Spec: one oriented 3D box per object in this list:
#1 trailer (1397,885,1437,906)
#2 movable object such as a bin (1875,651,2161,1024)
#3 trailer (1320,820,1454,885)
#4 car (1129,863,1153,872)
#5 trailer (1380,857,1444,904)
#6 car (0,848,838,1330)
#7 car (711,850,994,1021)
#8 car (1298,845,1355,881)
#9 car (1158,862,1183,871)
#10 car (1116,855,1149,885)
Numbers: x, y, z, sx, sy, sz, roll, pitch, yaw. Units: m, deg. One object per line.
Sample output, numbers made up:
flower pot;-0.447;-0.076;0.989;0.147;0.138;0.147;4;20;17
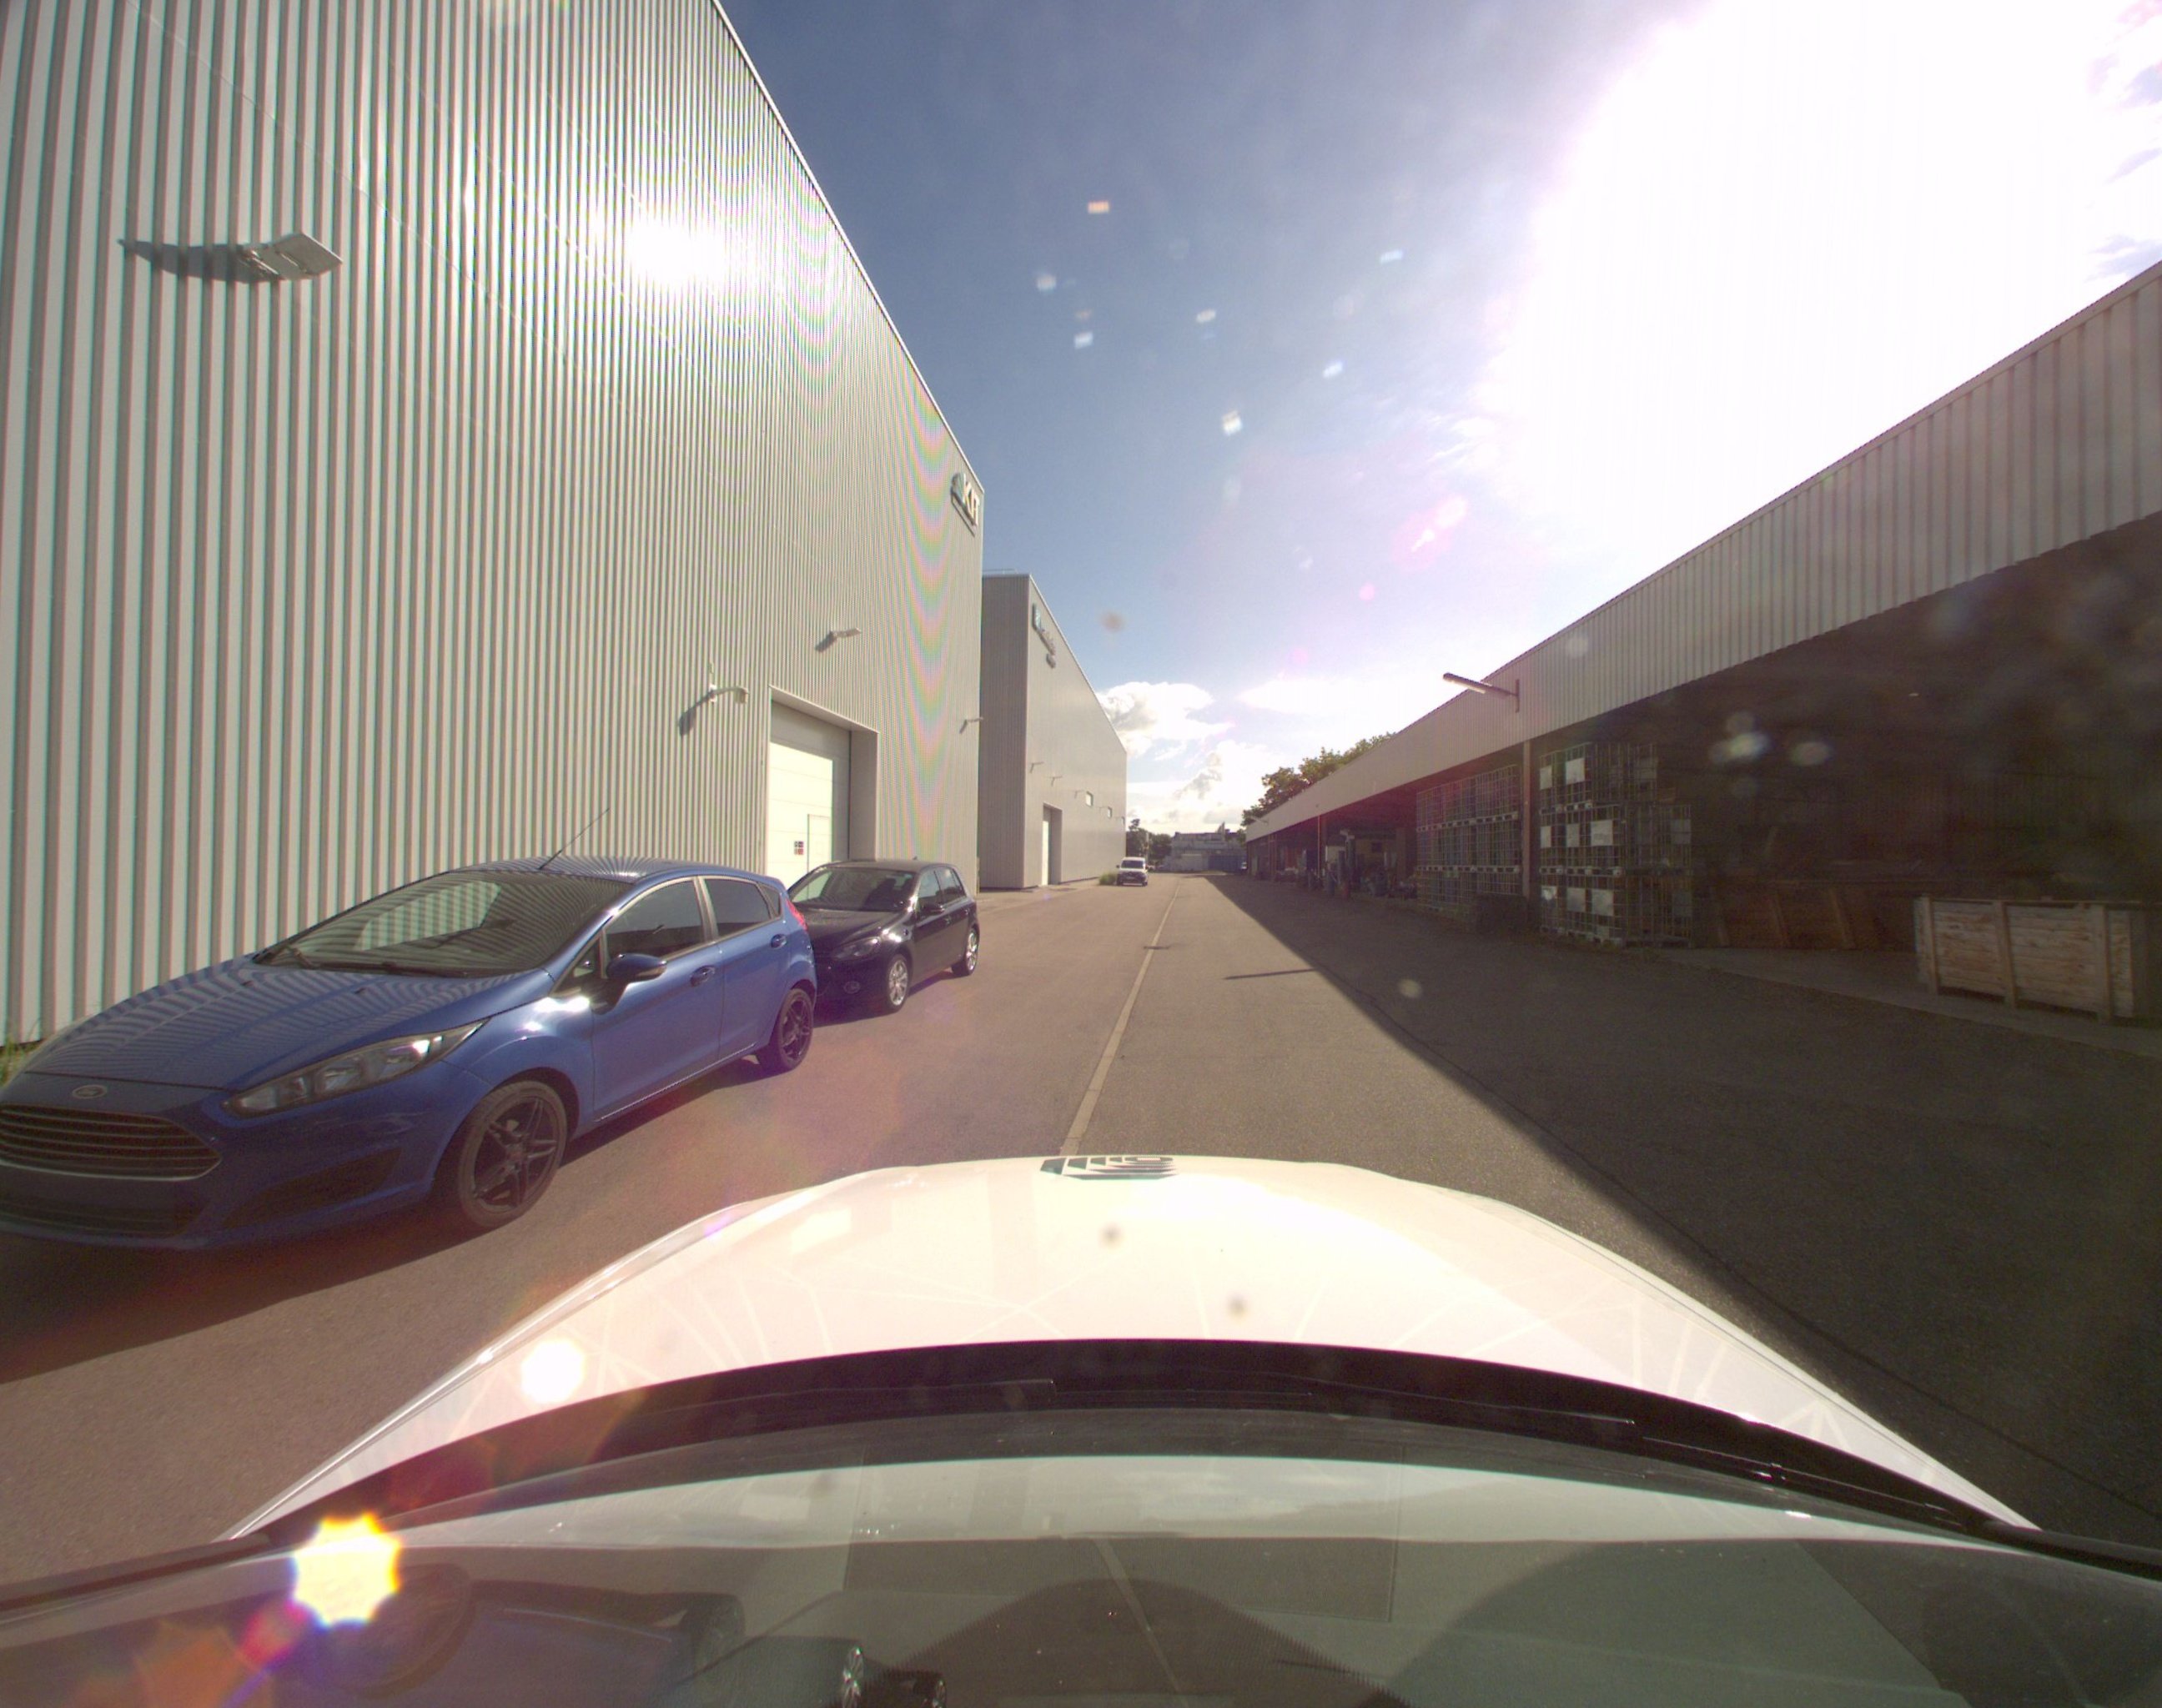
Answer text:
trailer;10.653;1.321;25.846;0.966;0.567;0.733;3;1;2
movable object such as a bin;12.002;-0.133;7.220;6.898;2.905;2.691;0;-1;7
trailer;16.588;-0.053;44.498;6.356;3.371;2.829;0;-1;6
car;9.861;2.182;133.847;3.865;1.462;1.626;1;-1;6
trailer;11.742;0.919;28.978;1.539;1.519;1.915;3;1;3
car;-2.902;0.745;4.480;1.611;1.447;3.770;2;0;6
car;-2.319;0.769;9.406;1.641;1.446;3.886;4;0;8
car;16.742;0.623;55.709;3.486;2.442;2.004;0;-1;7
car;14.527;2.010;132.325;3.861;1.462;1.627;1;-1;9
car;3.327;1.004;51.911;1.898;1.794;4.006;1;-1;5
